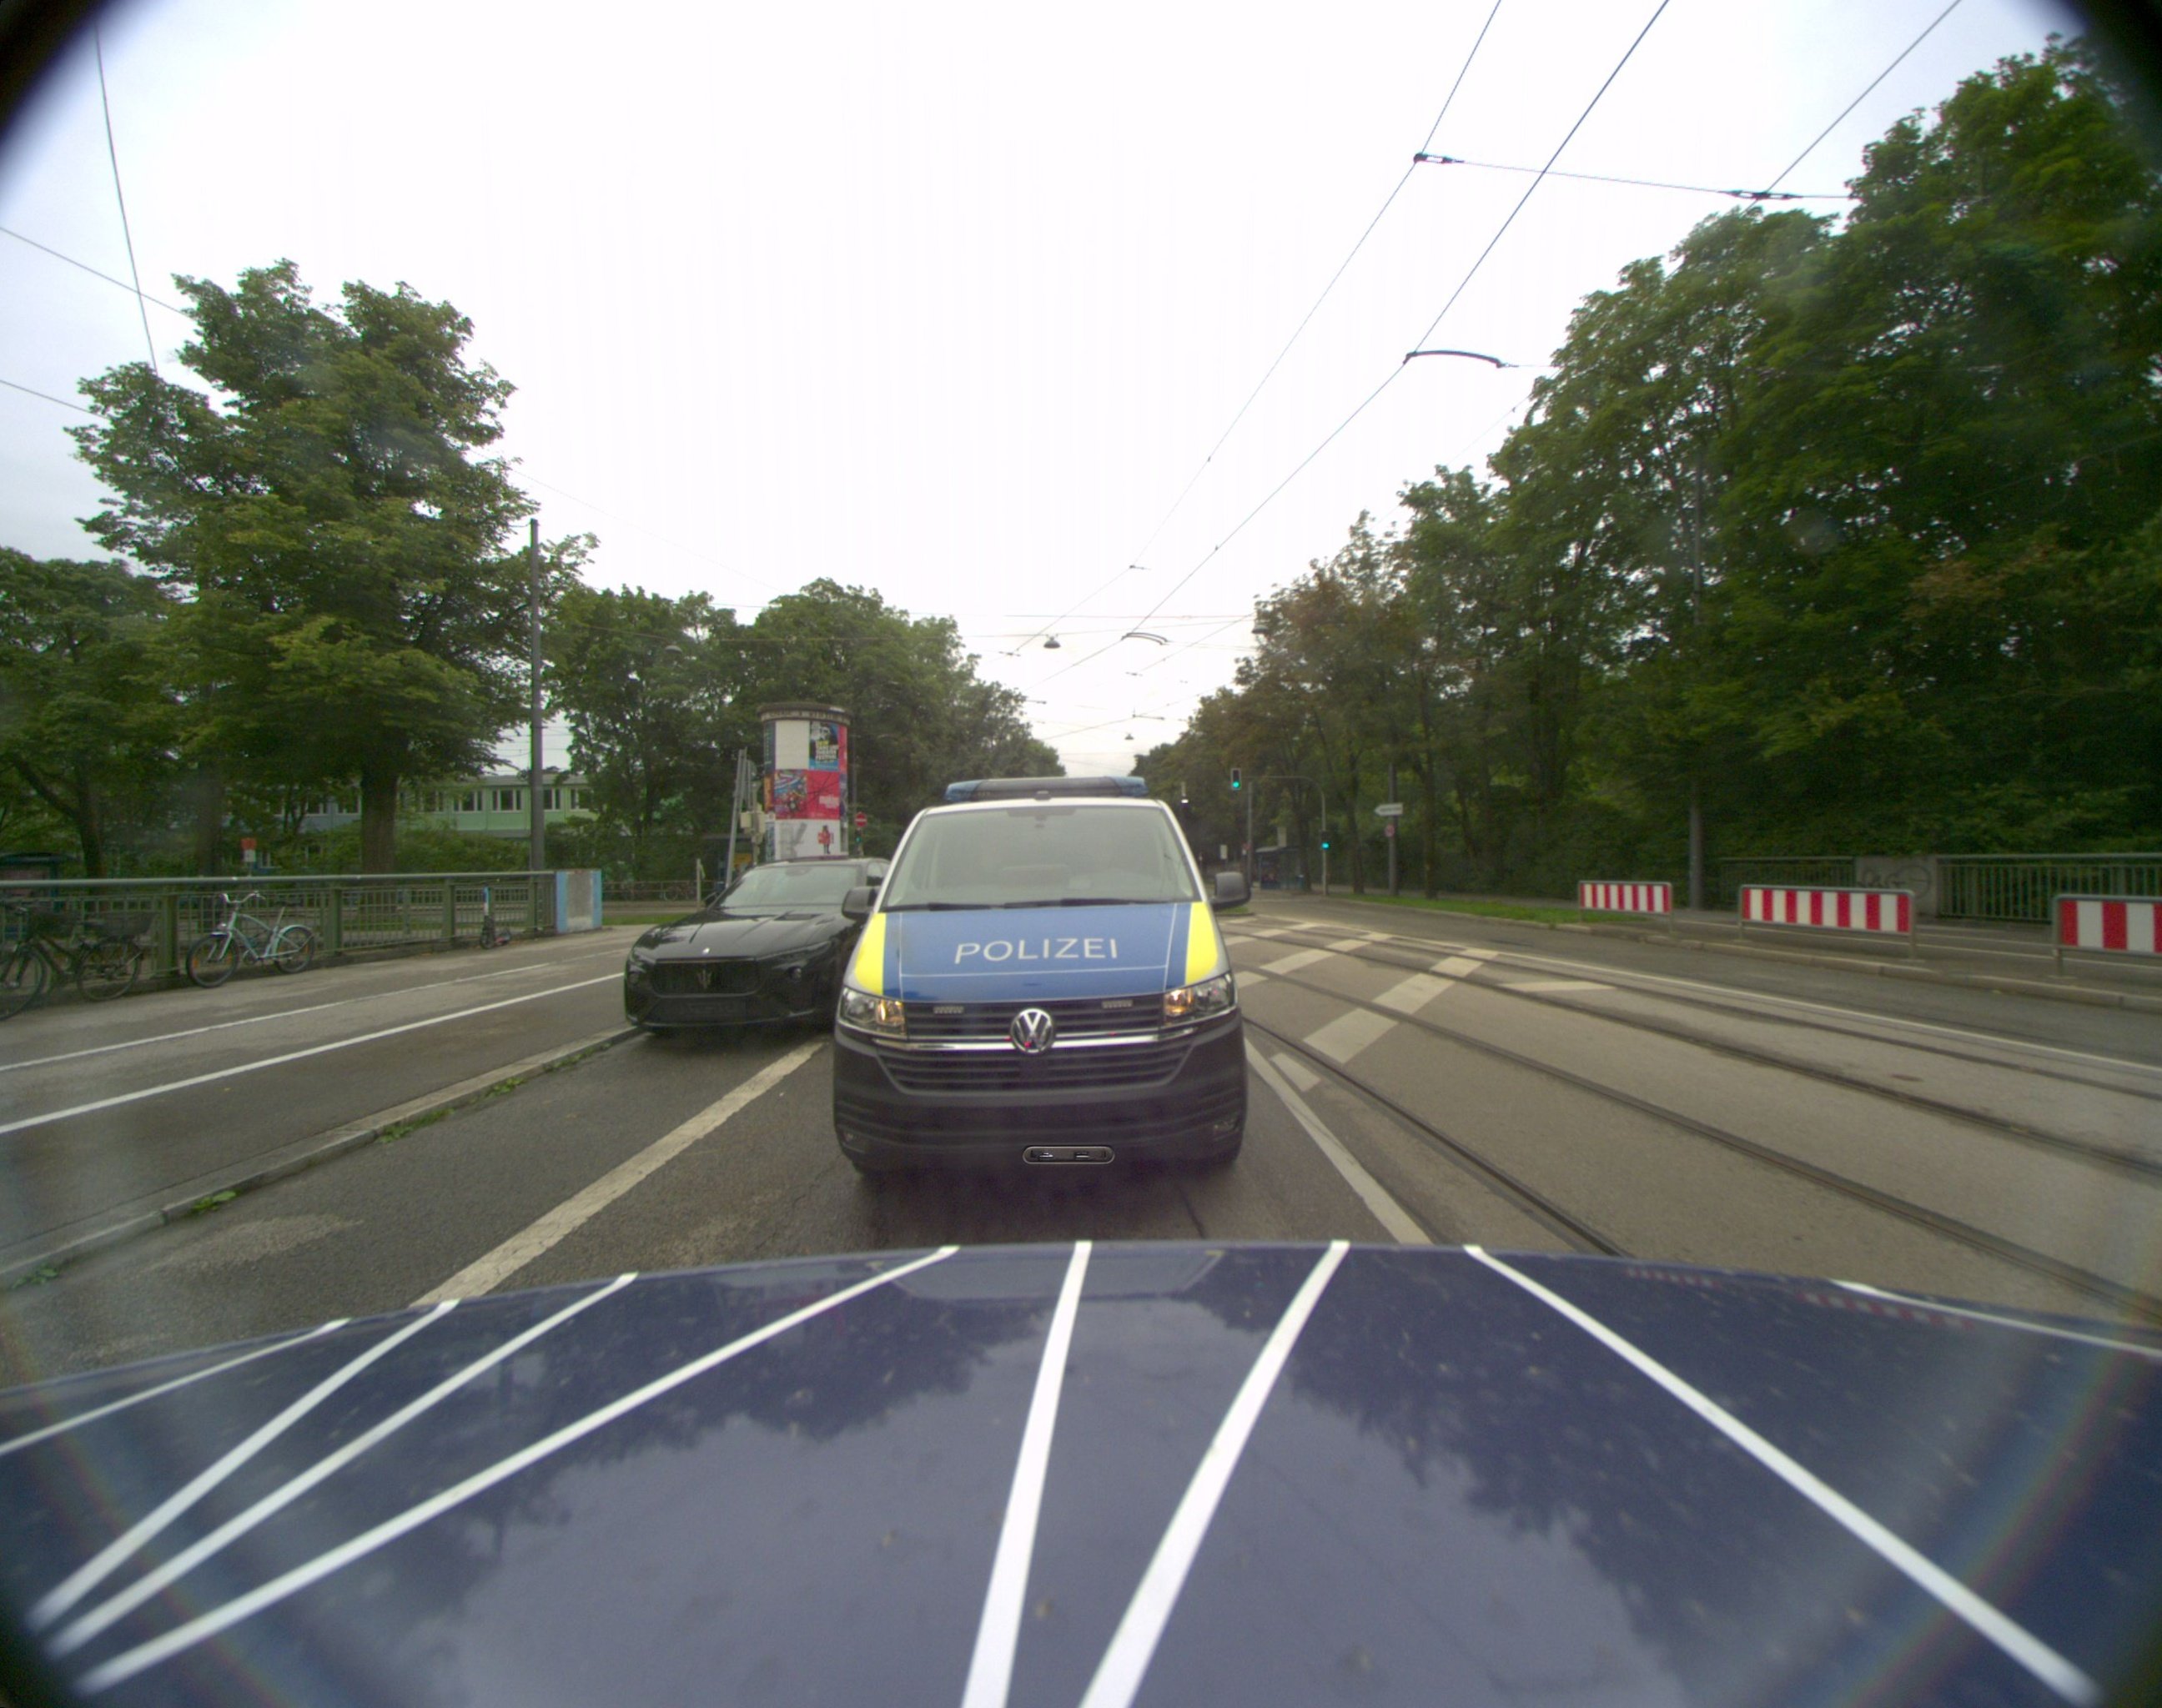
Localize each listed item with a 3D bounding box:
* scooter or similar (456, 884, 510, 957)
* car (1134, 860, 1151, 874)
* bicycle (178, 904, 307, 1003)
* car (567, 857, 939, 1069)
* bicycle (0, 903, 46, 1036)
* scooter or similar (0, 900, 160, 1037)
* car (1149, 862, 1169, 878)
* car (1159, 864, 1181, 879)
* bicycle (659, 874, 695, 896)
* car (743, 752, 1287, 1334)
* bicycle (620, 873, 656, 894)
[{"bbox_3d":[-10.652,1.158,13.564,0.225,1.205,1.020,-3,1,-8],"label":"scooter or similar"},{"bbox_3d":[8.587,1.806,105.732,1.888,1.716,3.999,-3,0,-1],"label":"car"},{"bbox_3d":[-10.750,1.236,9.801,0.265,1.076,1.540,-3,0,-14],"label":"bicycle"},{"bbox_3d":[-3.032,0.886,8.336,1.905,1.600,4.665,-3,-1,1],"label":"car"},{"bbox_3d":[-10.601,1.140,7.107,0.283,1.274,1.408,-3,0,-19],"label":"bicycle"},{"bbox_3d":[-10.597,1.155,8.099,0.245,1.255,1.493,-3,0,-22],"label":"scooter or similar"},{"bbox_3d":[9.321,1.896,91.069,1.888,1.716,3.999,-3,0,-1],"label":"car"},{"bbox_3d":[9.964,1.929,85.595,1.888,1.531,4.000,-3,-1,-1],"label":"car"},{"bbox_3d":[-18.826,1.448,35.444,1.483,0.946,0.373,-1,1,3],"label":"bicycle"},{"bbox_3d":[-0.271,0.665,5.553,1.903,2.041,5.708,-1,0,-1],"label":"car"},{"bbox_3d":[-20.826,1.397,35.729,1.483,0.946,0.373,-1,1,3],"label":"bicycle"}]
